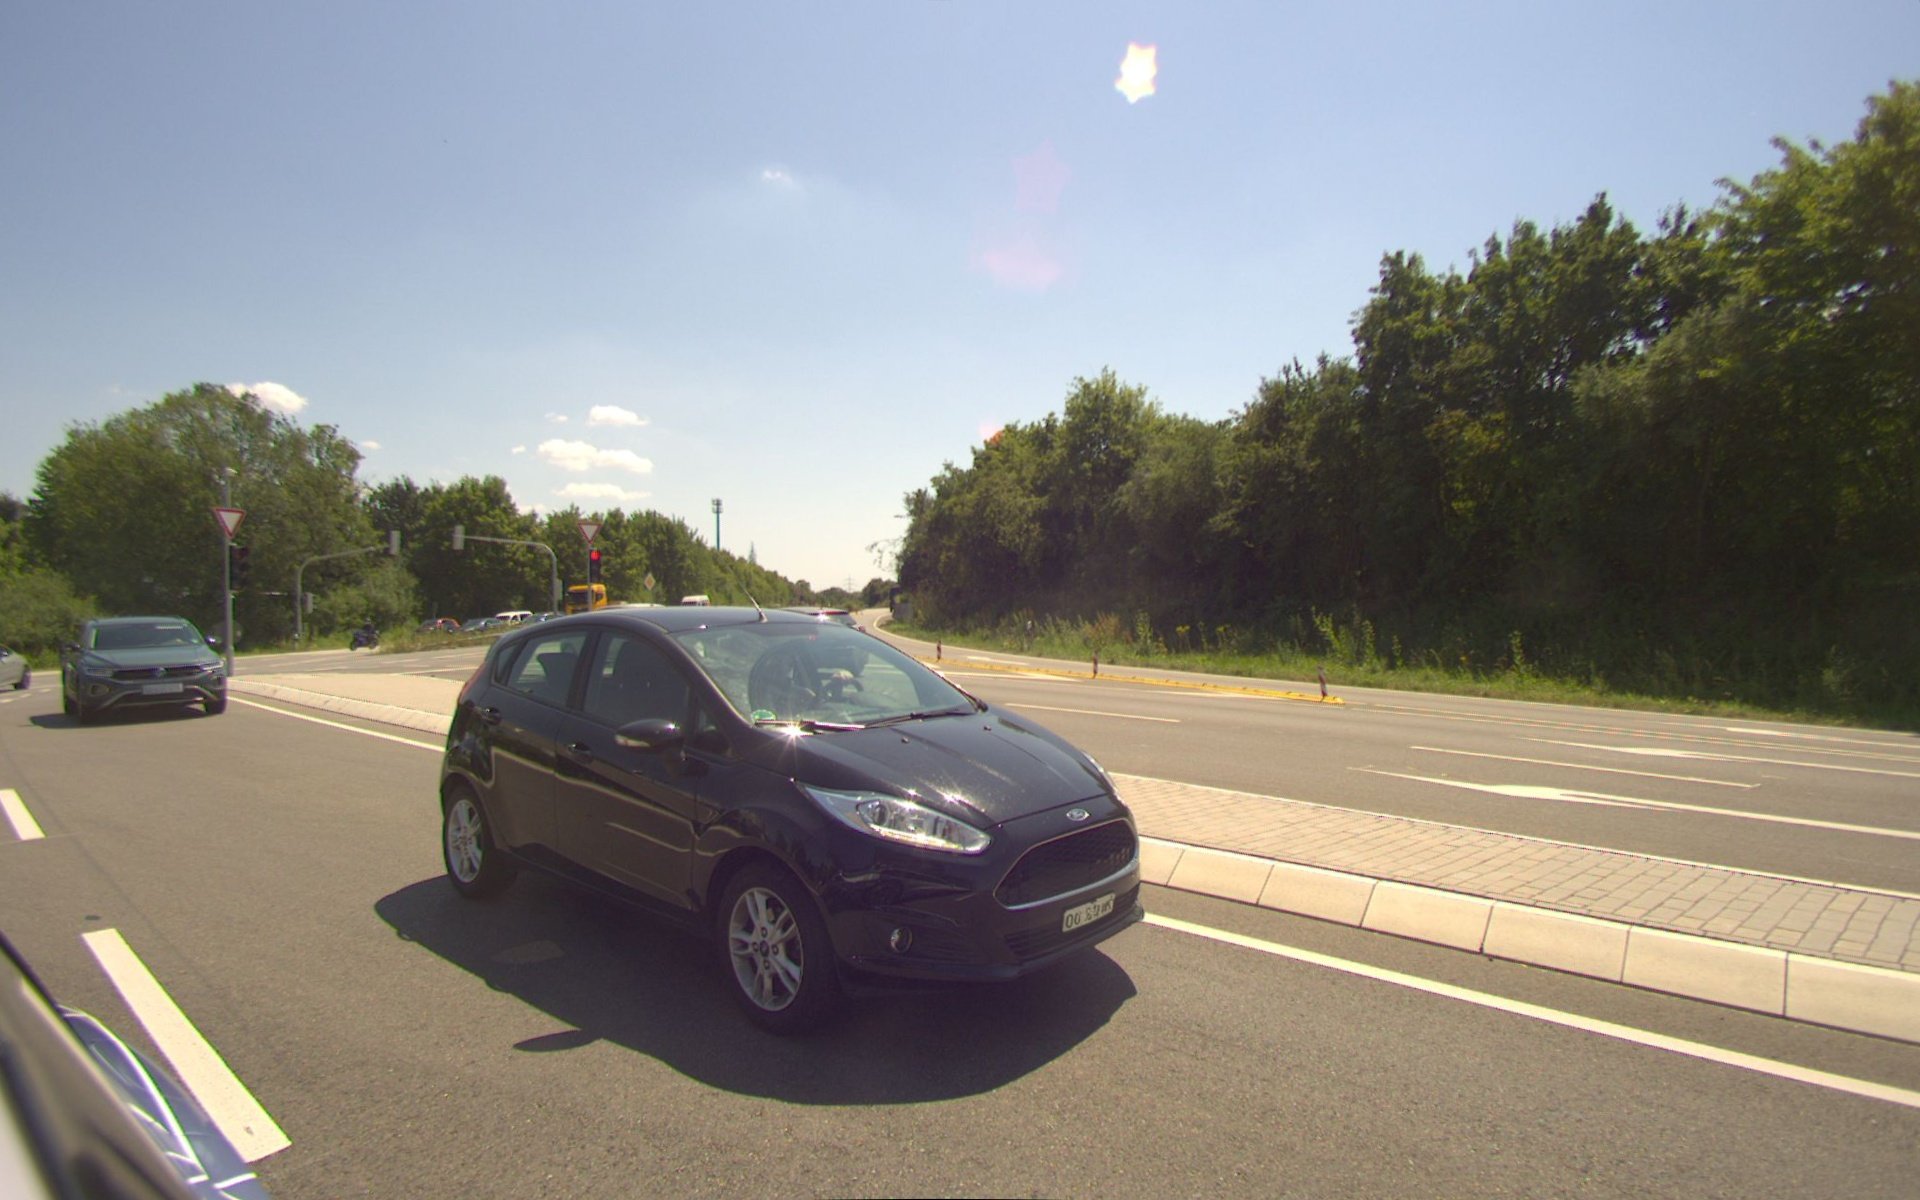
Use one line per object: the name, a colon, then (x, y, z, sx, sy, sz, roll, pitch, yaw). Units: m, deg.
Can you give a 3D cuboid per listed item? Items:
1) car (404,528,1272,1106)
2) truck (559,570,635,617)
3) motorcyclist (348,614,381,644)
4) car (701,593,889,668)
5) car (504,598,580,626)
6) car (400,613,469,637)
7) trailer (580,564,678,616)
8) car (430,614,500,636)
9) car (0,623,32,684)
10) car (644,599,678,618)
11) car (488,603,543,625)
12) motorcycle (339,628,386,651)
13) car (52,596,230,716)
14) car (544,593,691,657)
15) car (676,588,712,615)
car: (-0.909, 0.579, 4.671, 4.207, 1.505, 1.635, 0, -1, 42)
truck: (-29.371, -0.561, 82.231, 2.950, 3.564, 6.843, -1, 0, 7)
motorcyclist: (-30.758, 1.489, 52.281, 0.854, 1.499, 1.154, 0, -1, 19)
car: (-3.717, 0.637, 22.374, 4.224, 1.450, 1.971, -1, 1, 45)
car: (-25.605, 0.737, 62.135, 2.098, 1.603, 4.431, 1, 0, 13)
car: (-35.193, 1.658, 67.884, 1.981, 1.464, 3.981, -2, 0, 15)
trailer: (-28.719, -0.886, 88.695, 3.035, 4.093, 13.151, -1, 0, 5)
car: (-32.424, 1.644, 66.375, 1.981, 1.198, 3.981, -2, 1, 15)
car: (-26.892, 1.507, 27.149, 1.902, 1.598, 4.192, -2, 1, -28)
car: (-29.097, 0.808, 98.556, 2.139, 1.702, 3.932, -2, 1, 1)
car: (-33.783, 1.063, 77.044, 1.765, 1.464, 3.981, -2, 1, 15)
motorcycle: (-30.807, 2.042, 52.208, 0.729, 1.147, 2.059, 0, -2, 20)
car: (-13.220, 0.860, 16.235, 1.813, 1.598, 4.394, -3, 0, -44)
car: (-9.438, 0.678, 27.769, 4.345, 1.611, 1.594, -1, 1, 36)
car: (-27.410, 0.139, 104.593, 2.139, 2.627, 5.480, -2, 1, 1)
